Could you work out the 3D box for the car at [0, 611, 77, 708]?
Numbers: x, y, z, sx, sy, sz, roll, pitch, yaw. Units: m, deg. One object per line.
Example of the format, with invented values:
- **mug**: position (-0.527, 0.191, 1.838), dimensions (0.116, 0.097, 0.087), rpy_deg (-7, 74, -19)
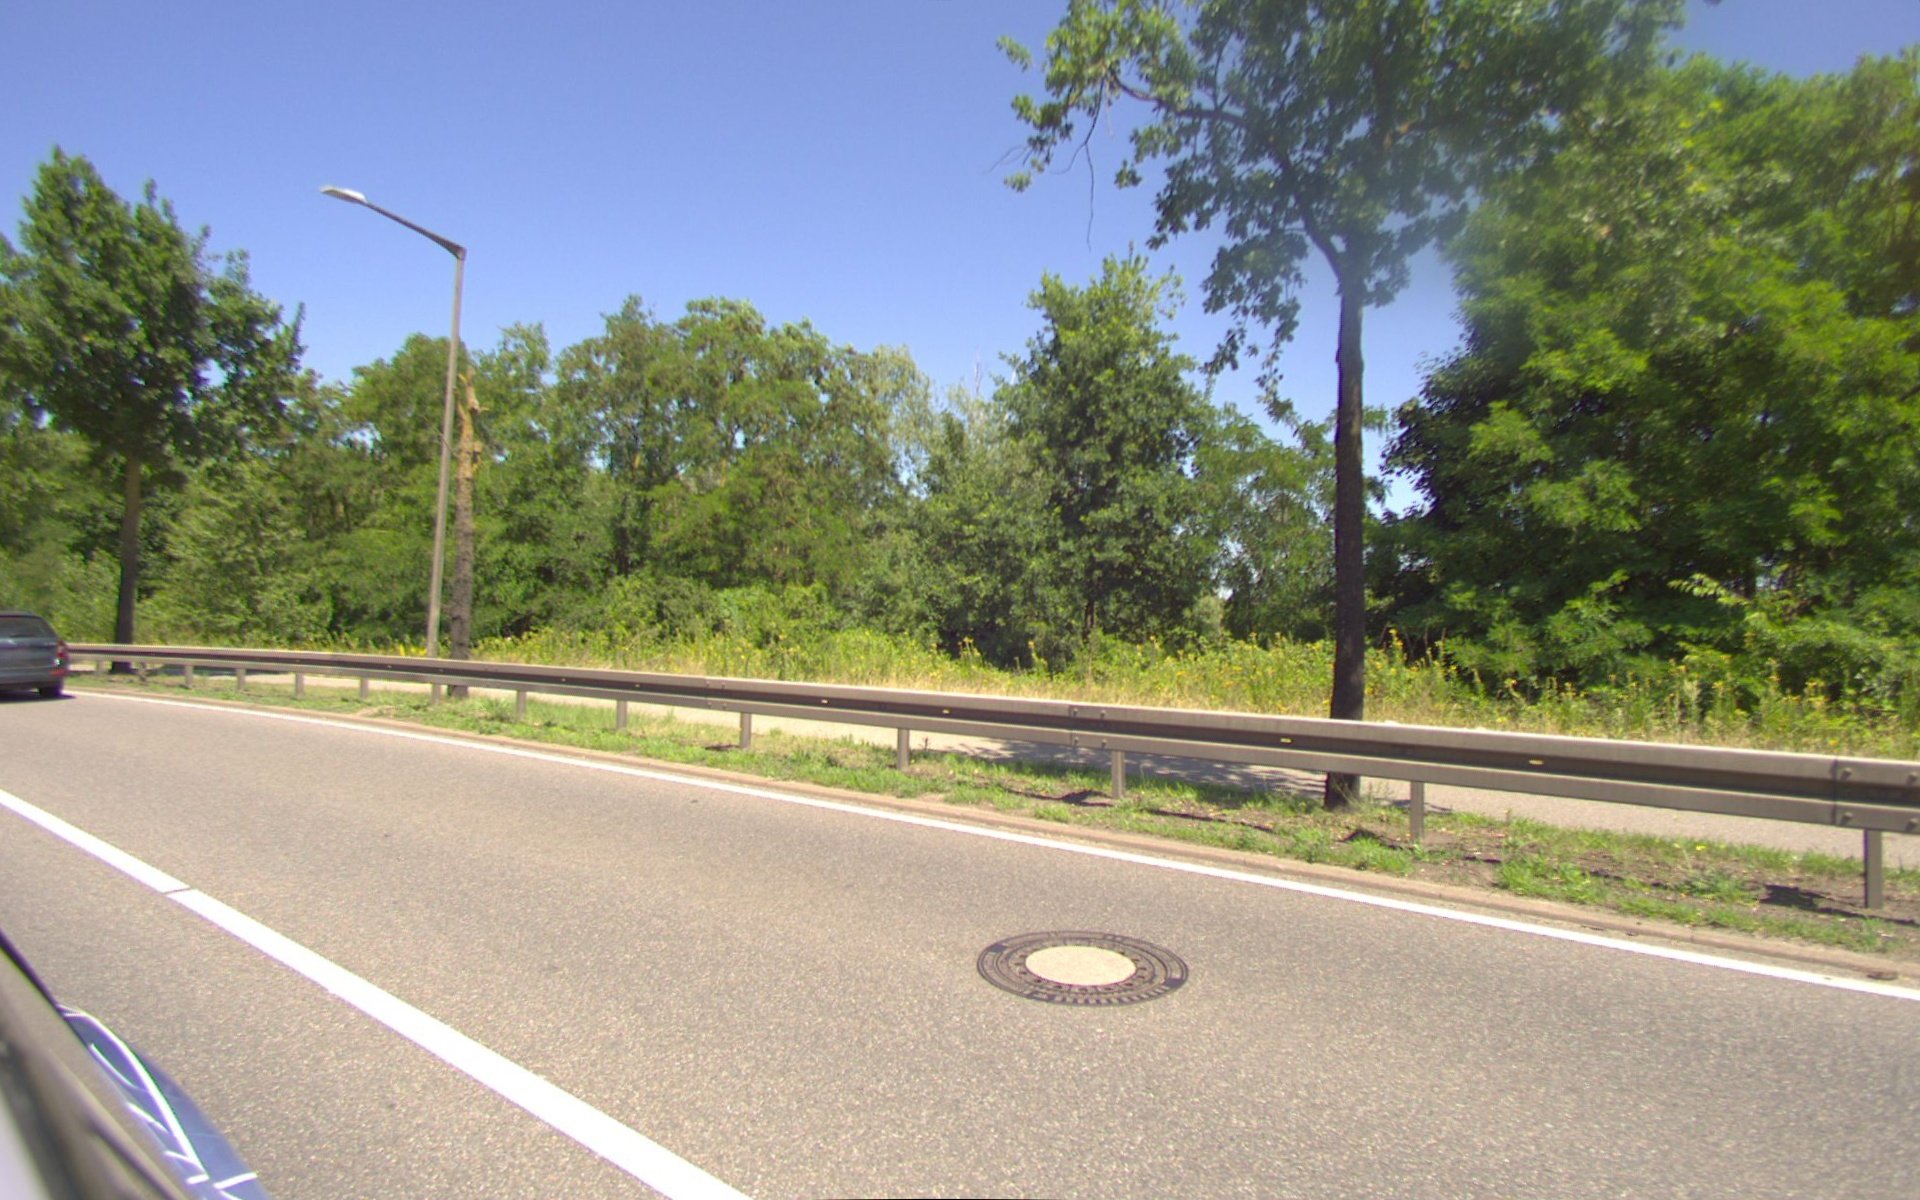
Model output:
- **car**: position (-16.214, 0.918, 16.424), dimensions (4.504, 1.458, 1.730), rpy_deg (-1, -1, 34)
